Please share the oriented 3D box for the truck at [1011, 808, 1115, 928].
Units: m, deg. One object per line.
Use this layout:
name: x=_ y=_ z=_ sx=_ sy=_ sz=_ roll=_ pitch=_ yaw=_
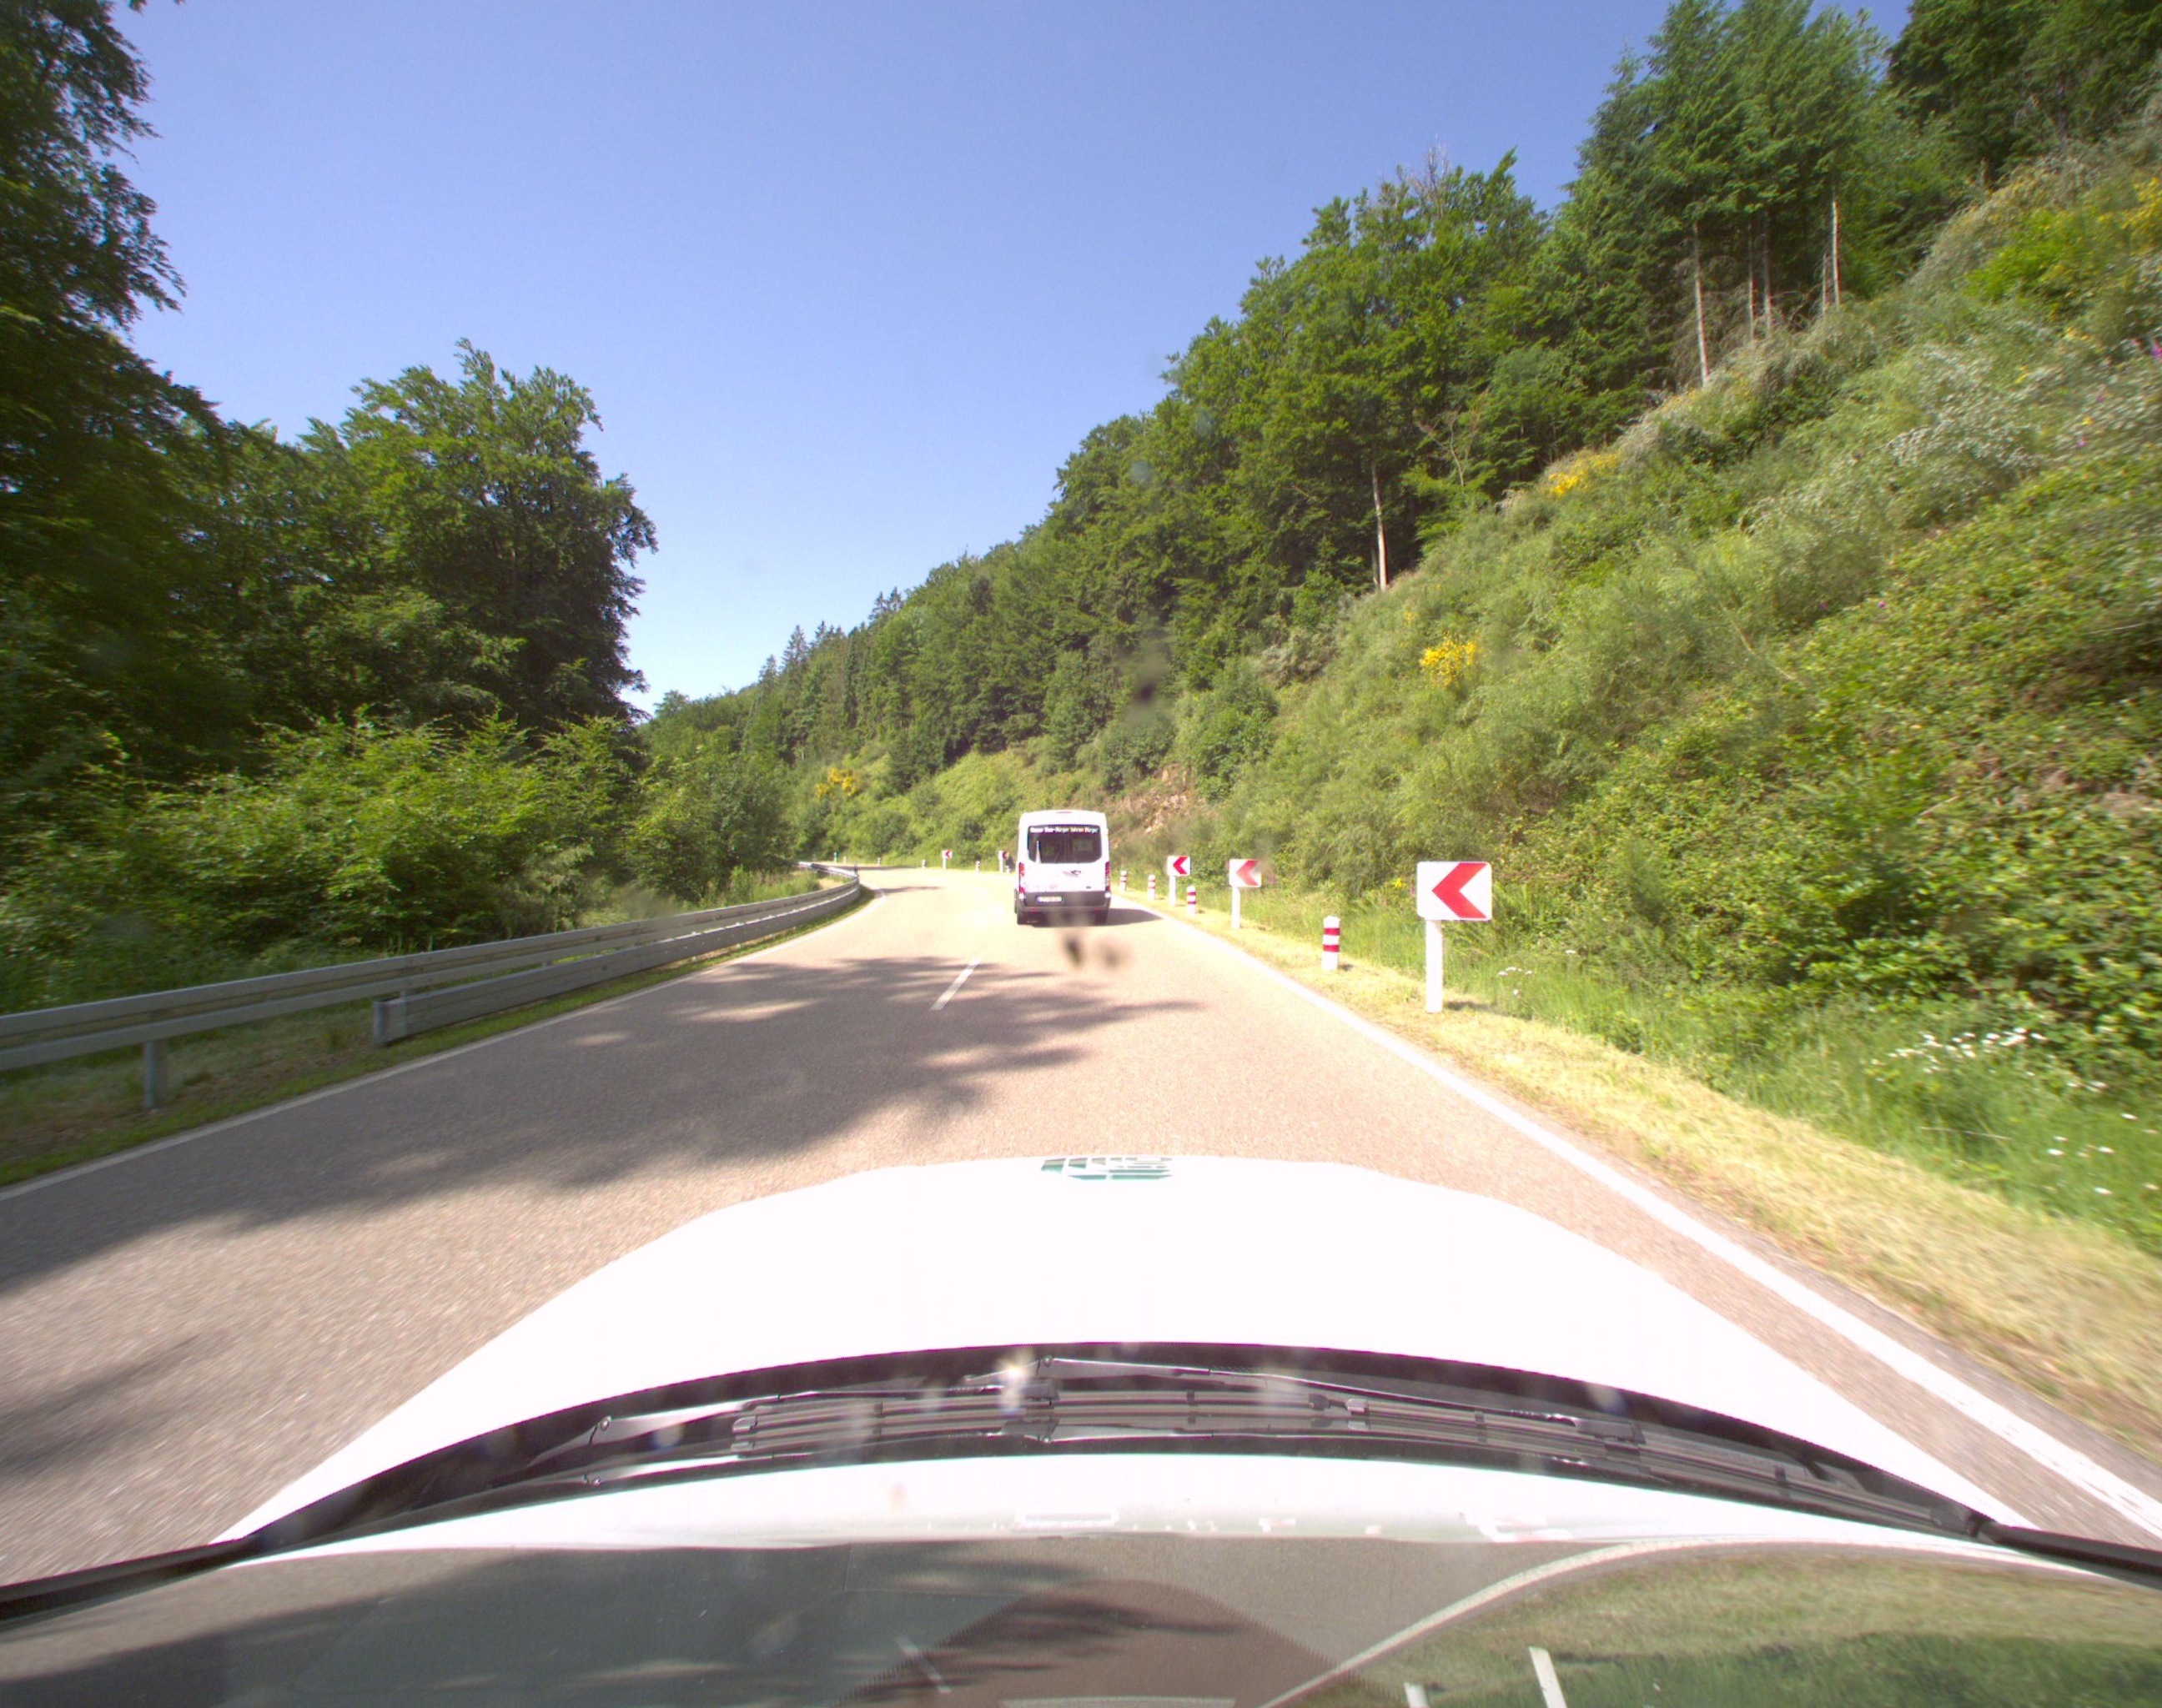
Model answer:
truck: x=-0.571 y=0.288 z=19.329 sx=2.081 sy=2.459 sz=4.865 roll=-1 pitch=0 yaw=-6
